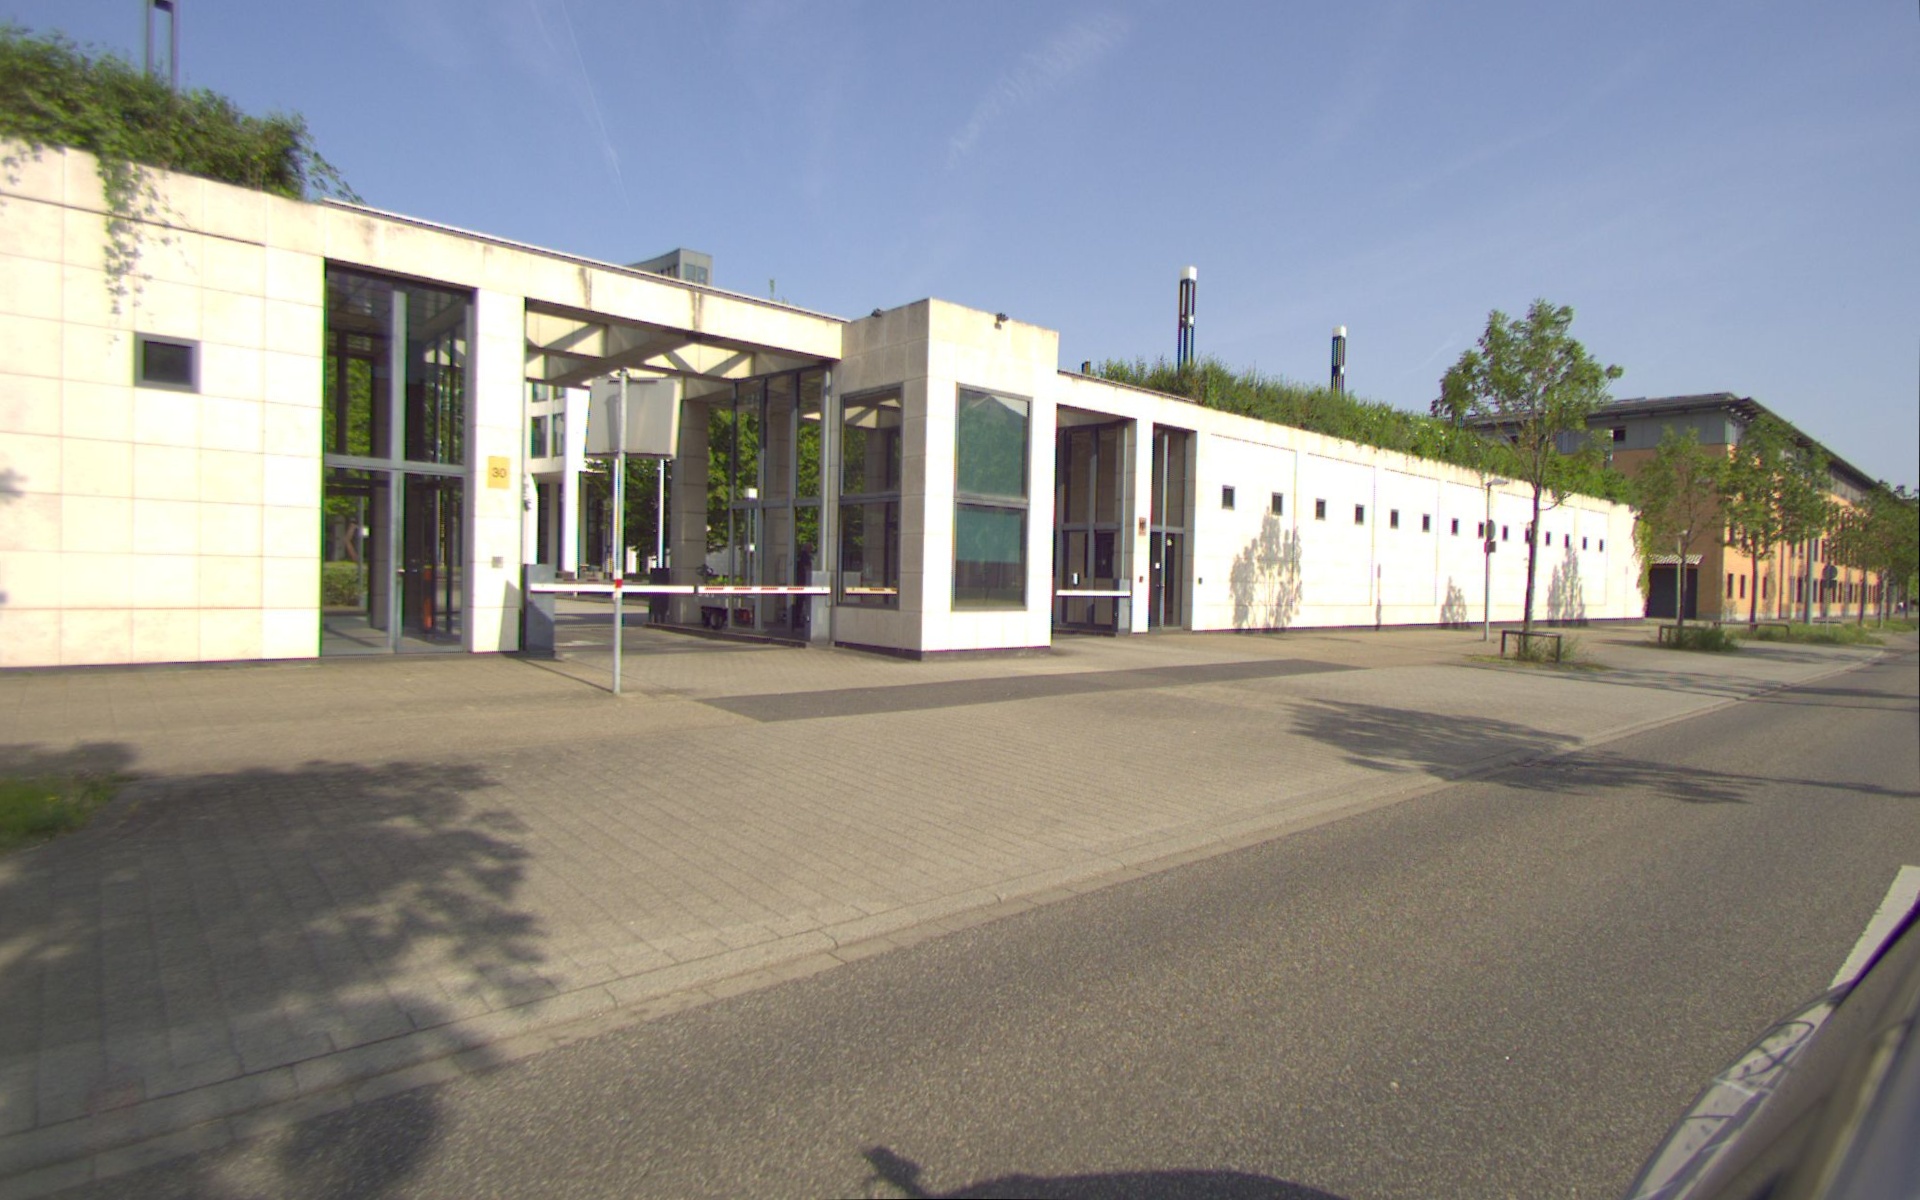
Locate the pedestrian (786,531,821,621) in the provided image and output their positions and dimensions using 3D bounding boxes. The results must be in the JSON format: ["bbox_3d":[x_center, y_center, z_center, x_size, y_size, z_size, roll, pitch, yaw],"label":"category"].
[{"bbox_3d":[-3.367,-0.525,21.771,0.548,1.895,0.593,-1,2,10],"label":"pedestrian"}]
